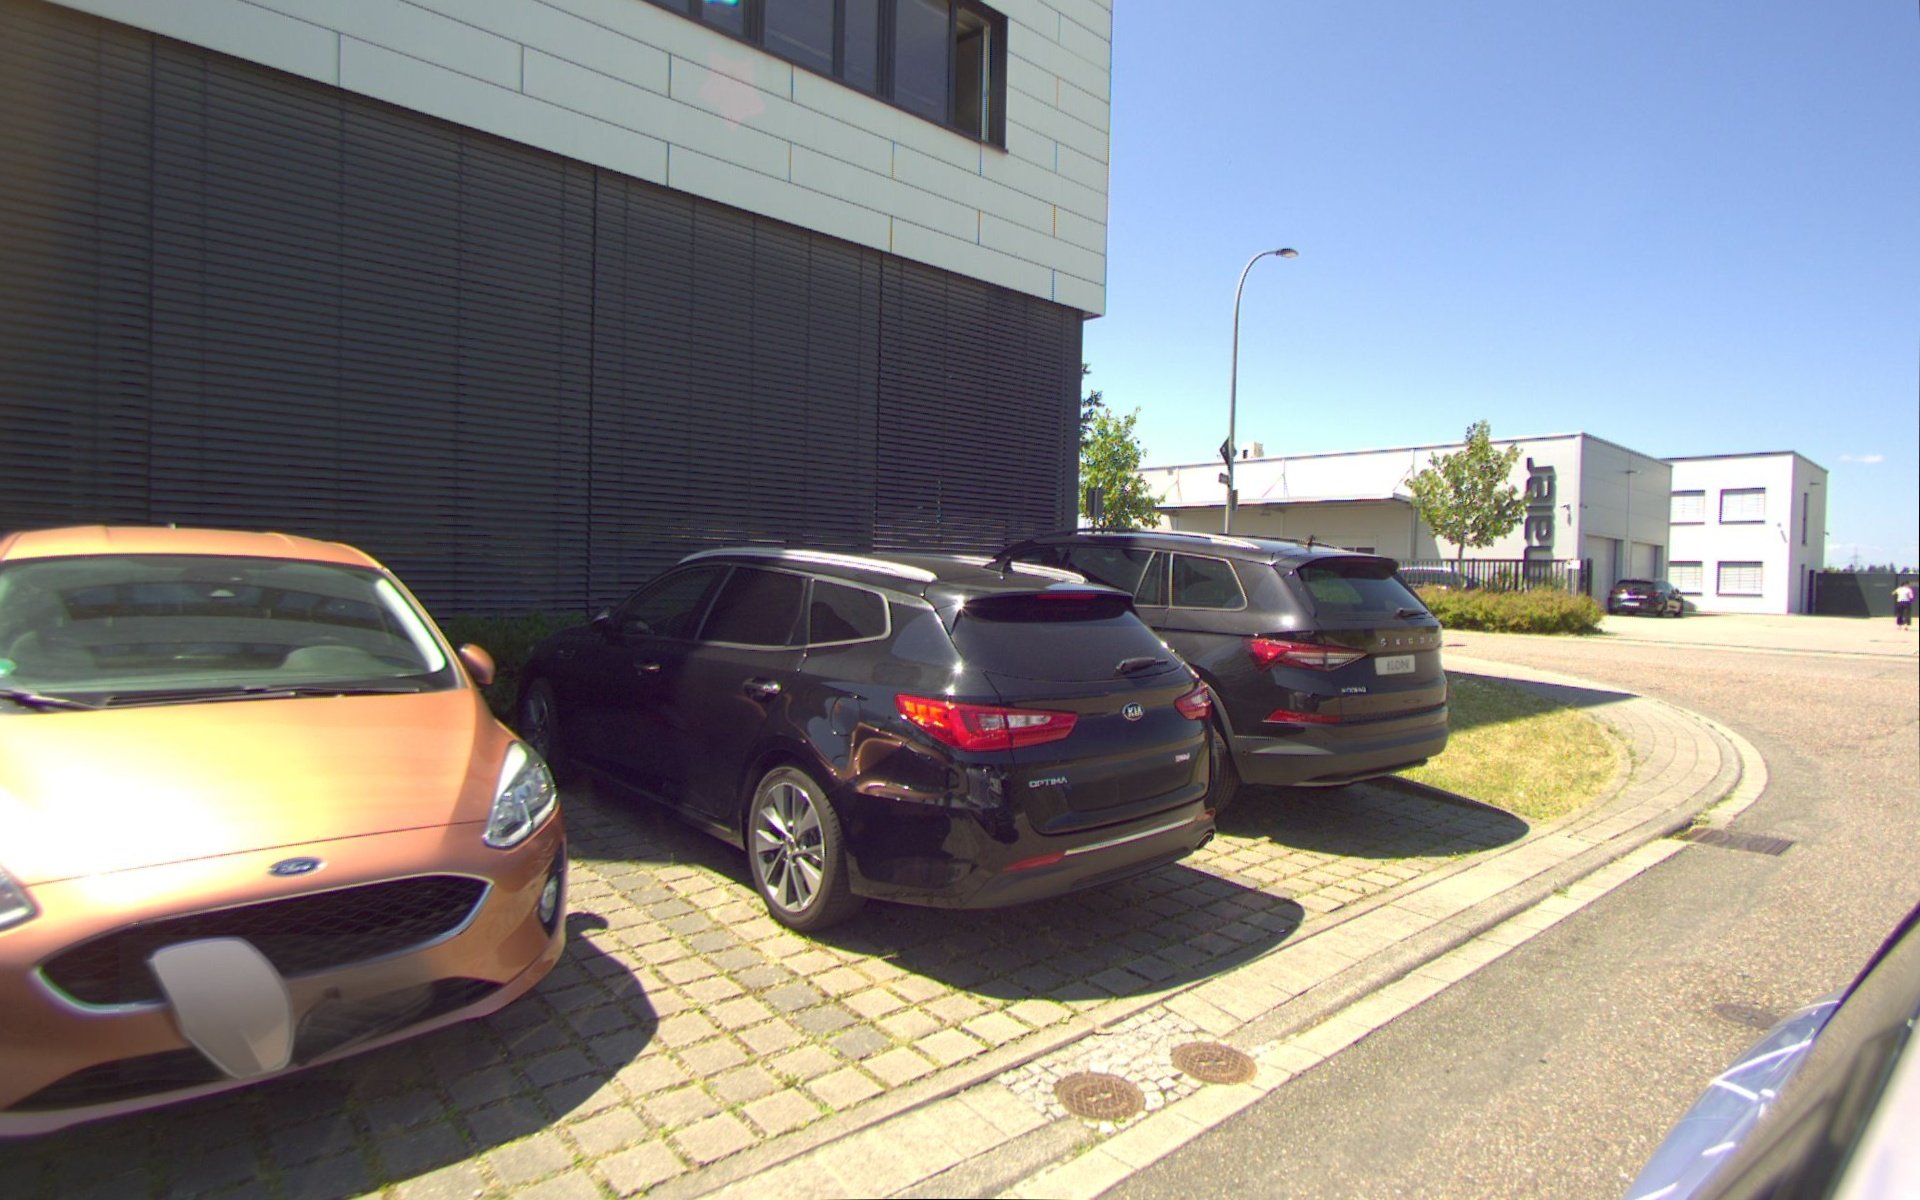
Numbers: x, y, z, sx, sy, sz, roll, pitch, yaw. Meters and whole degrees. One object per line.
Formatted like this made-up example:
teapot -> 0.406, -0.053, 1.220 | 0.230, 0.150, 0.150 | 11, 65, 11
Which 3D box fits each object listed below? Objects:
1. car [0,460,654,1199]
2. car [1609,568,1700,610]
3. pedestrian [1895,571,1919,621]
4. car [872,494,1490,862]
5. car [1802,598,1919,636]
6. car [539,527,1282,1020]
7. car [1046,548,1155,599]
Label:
car -> -2.818, 0.380, 3.712 | 1.695, 1.513, 3.994 | 0, 3, -42
car -> 25.725, -0.414, 37.451 | 3.802, 1.437, 1.796 | -1, 3, -40
pedestrian -> 32.232, -0.141, 34.207 | 0.770, 1.649, 0.614 | 2, 2, 35
car -> 1.196, 0.270, 7.015 | 1.693, 1.787, 4.000 | 0, 3, -37
car -> 37.892, 0.678, 42.211 | 1.965, 1.326, 3.995 | -1, 3, -41
car -> -0.545, 0.434, 5.081 | 1.752, 1.513, 3.718 | 0, 3, -42
car -> 6.134, -1.214, 44.571 | 1.972, 2.124, 4.689 | -2, 3, -40
